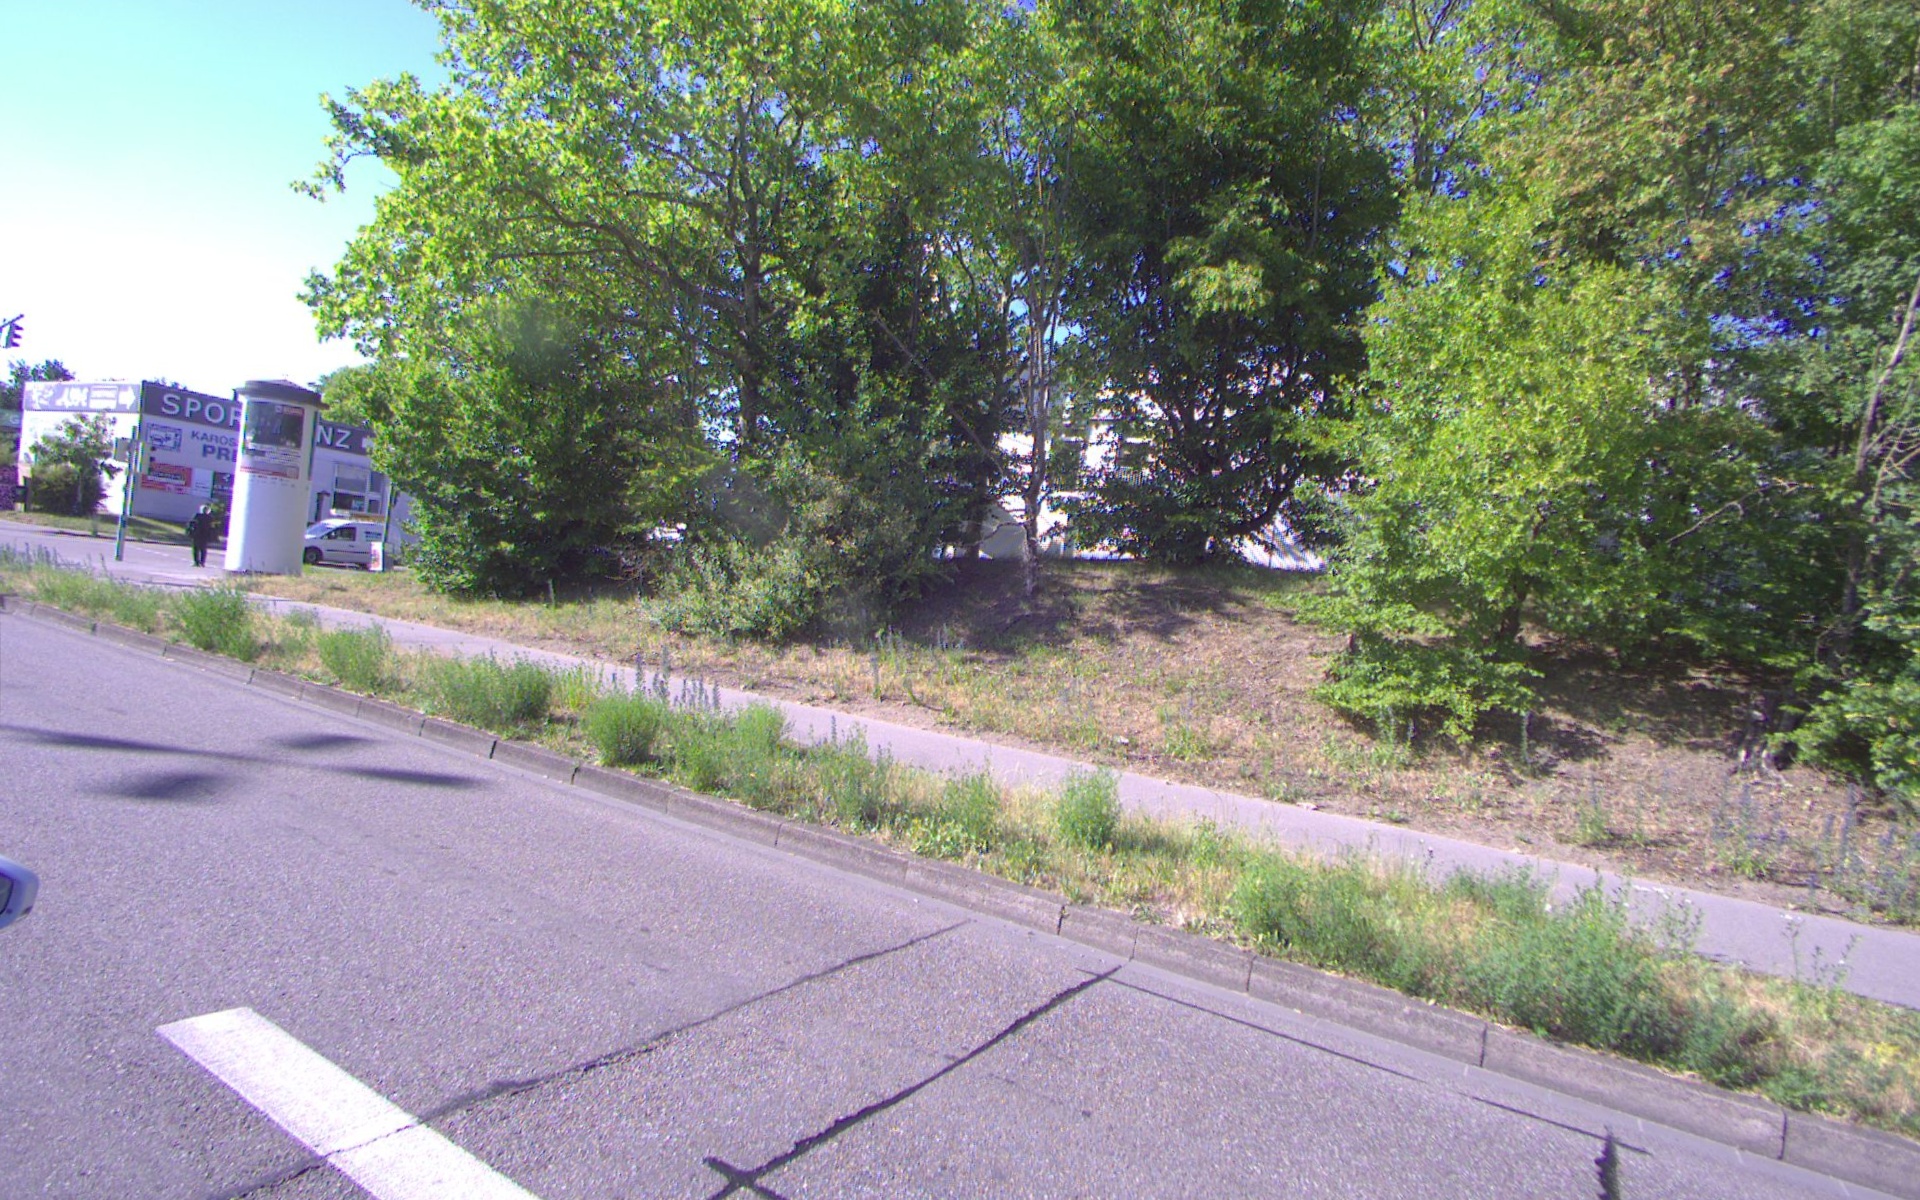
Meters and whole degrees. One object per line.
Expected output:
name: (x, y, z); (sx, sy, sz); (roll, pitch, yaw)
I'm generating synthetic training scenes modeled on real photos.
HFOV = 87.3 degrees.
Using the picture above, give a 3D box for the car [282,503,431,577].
car: (-23.389, -2.292, 39.177); (1.965, 2.171, 4.415); (7, -1, 28)

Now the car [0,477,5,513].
car: (-48.289, -5.347, 47.689); (1.663, 1.726, 4.003); (7, -1, 16)

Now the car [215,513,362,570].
car: (-26.832, -2.286, 40.349); (1.965, 1.571, 4.415); (7, -1, 28)

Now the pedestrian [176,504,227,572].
pedestrian: (-21.180, -1.719, 28.084); (0.841, 1.743, 0.822); (7, 0, 39)

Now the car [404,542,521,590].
car: (-22.930, -1.558, 46.575); (1.965, 1.571, 4.415); (7, -1, 28)
